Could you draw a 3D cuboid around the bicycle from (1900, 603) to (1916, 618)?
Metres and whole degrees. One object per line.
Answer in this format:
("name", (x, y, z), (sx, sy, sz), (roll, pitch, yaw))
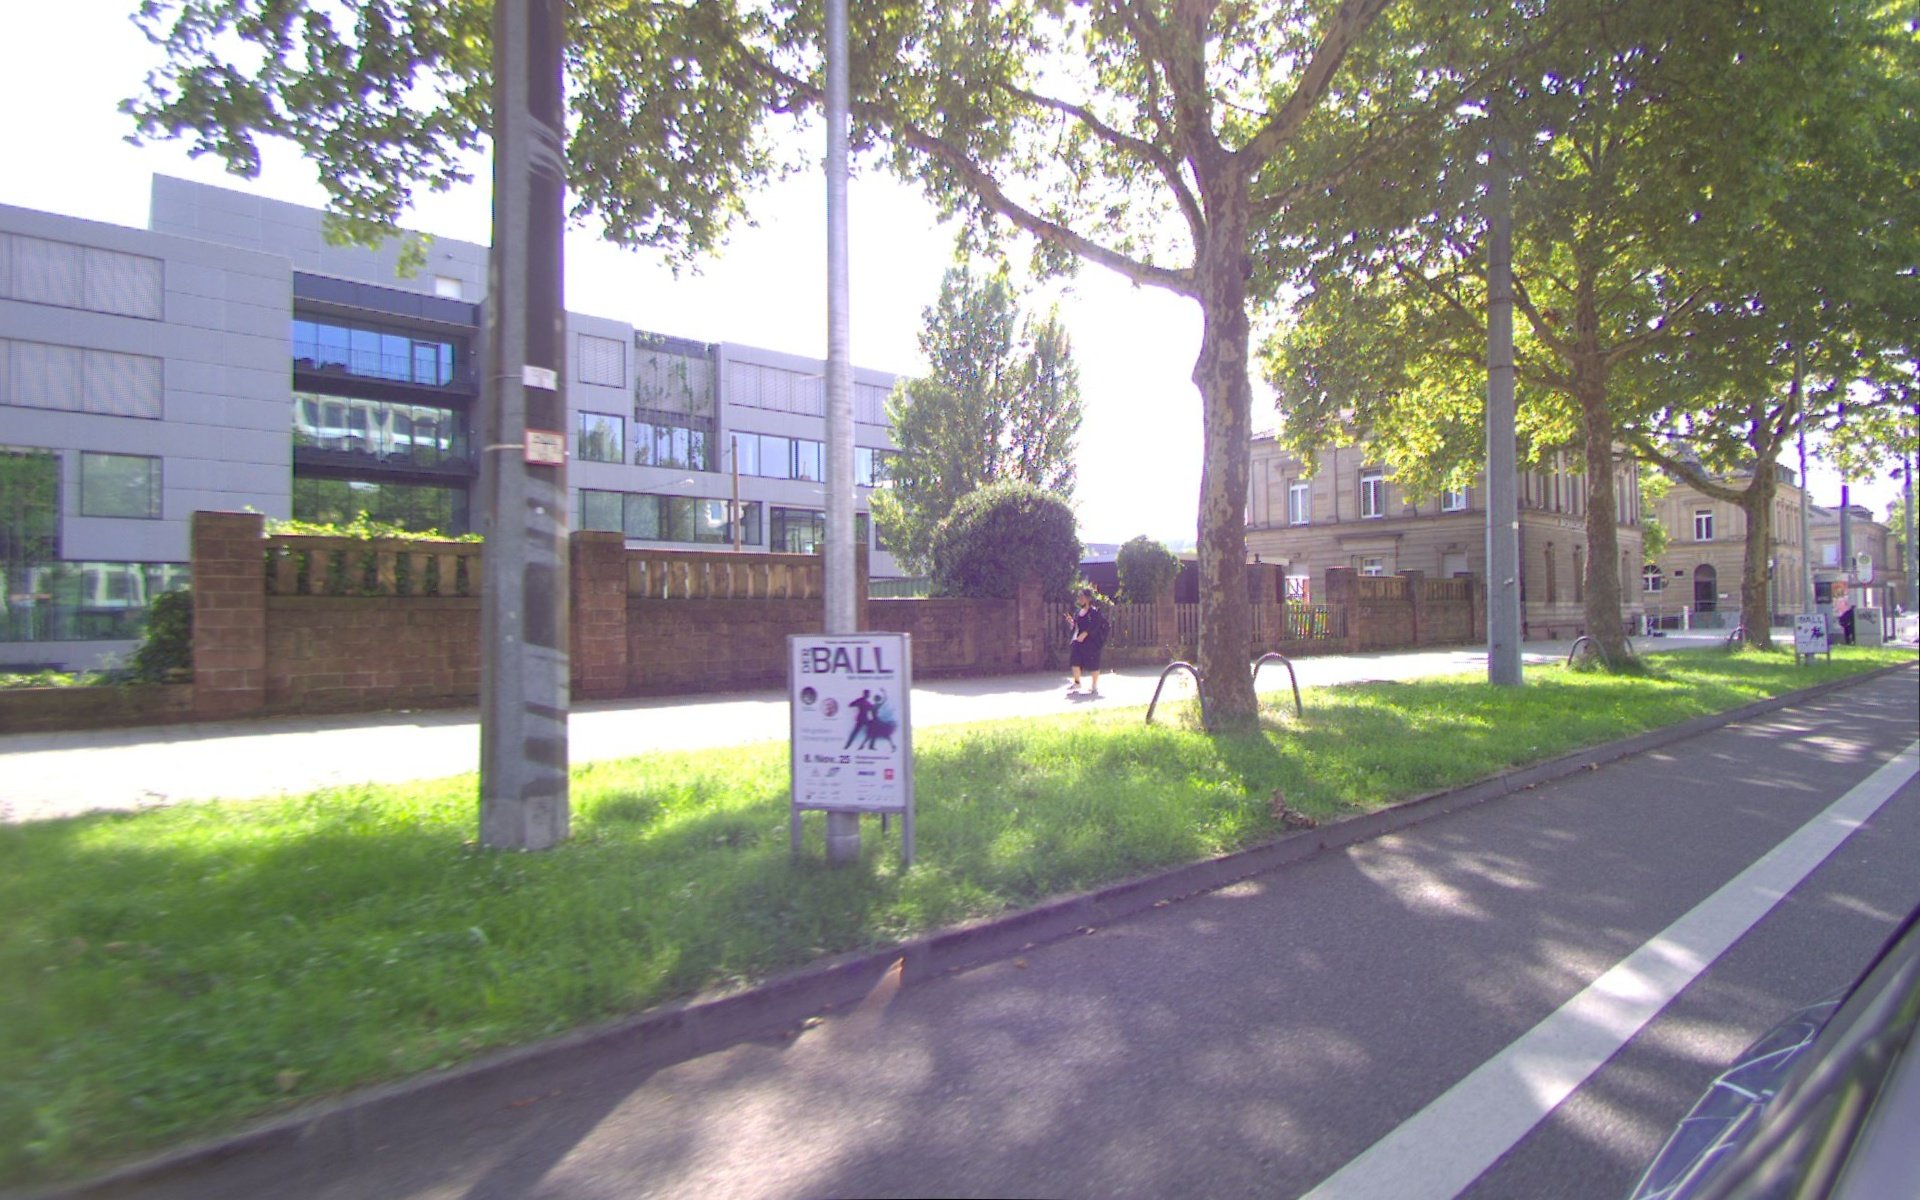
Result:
("bicycle", (67.296, 0.731, 71.819), (1.871, 1.055, 0.718), (1, -2, -44))

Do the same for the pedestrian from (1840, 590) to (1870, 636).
("pedestrian", (34.192, 0.488, 38.659), (0.683, 1.718, 0.642), (-1, -1, 28))

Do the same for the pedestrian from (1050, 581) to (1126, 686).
("pedestrian", (2.155, 0.550, 17.097), (0.994, 1.708, 0.820), (0, -1, -41))

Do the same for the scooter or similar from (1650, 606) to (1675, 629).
("scooter or similar", (37.640, 0.944, 54.214), (1.228, 1.226, 0.423), (2, -2, -18))

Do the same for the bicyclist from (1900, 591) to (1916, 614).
("bicyclist", (67.327, 0.175, 71.861), (0.939, 1.563, 0.718), (1, -2, -43))
